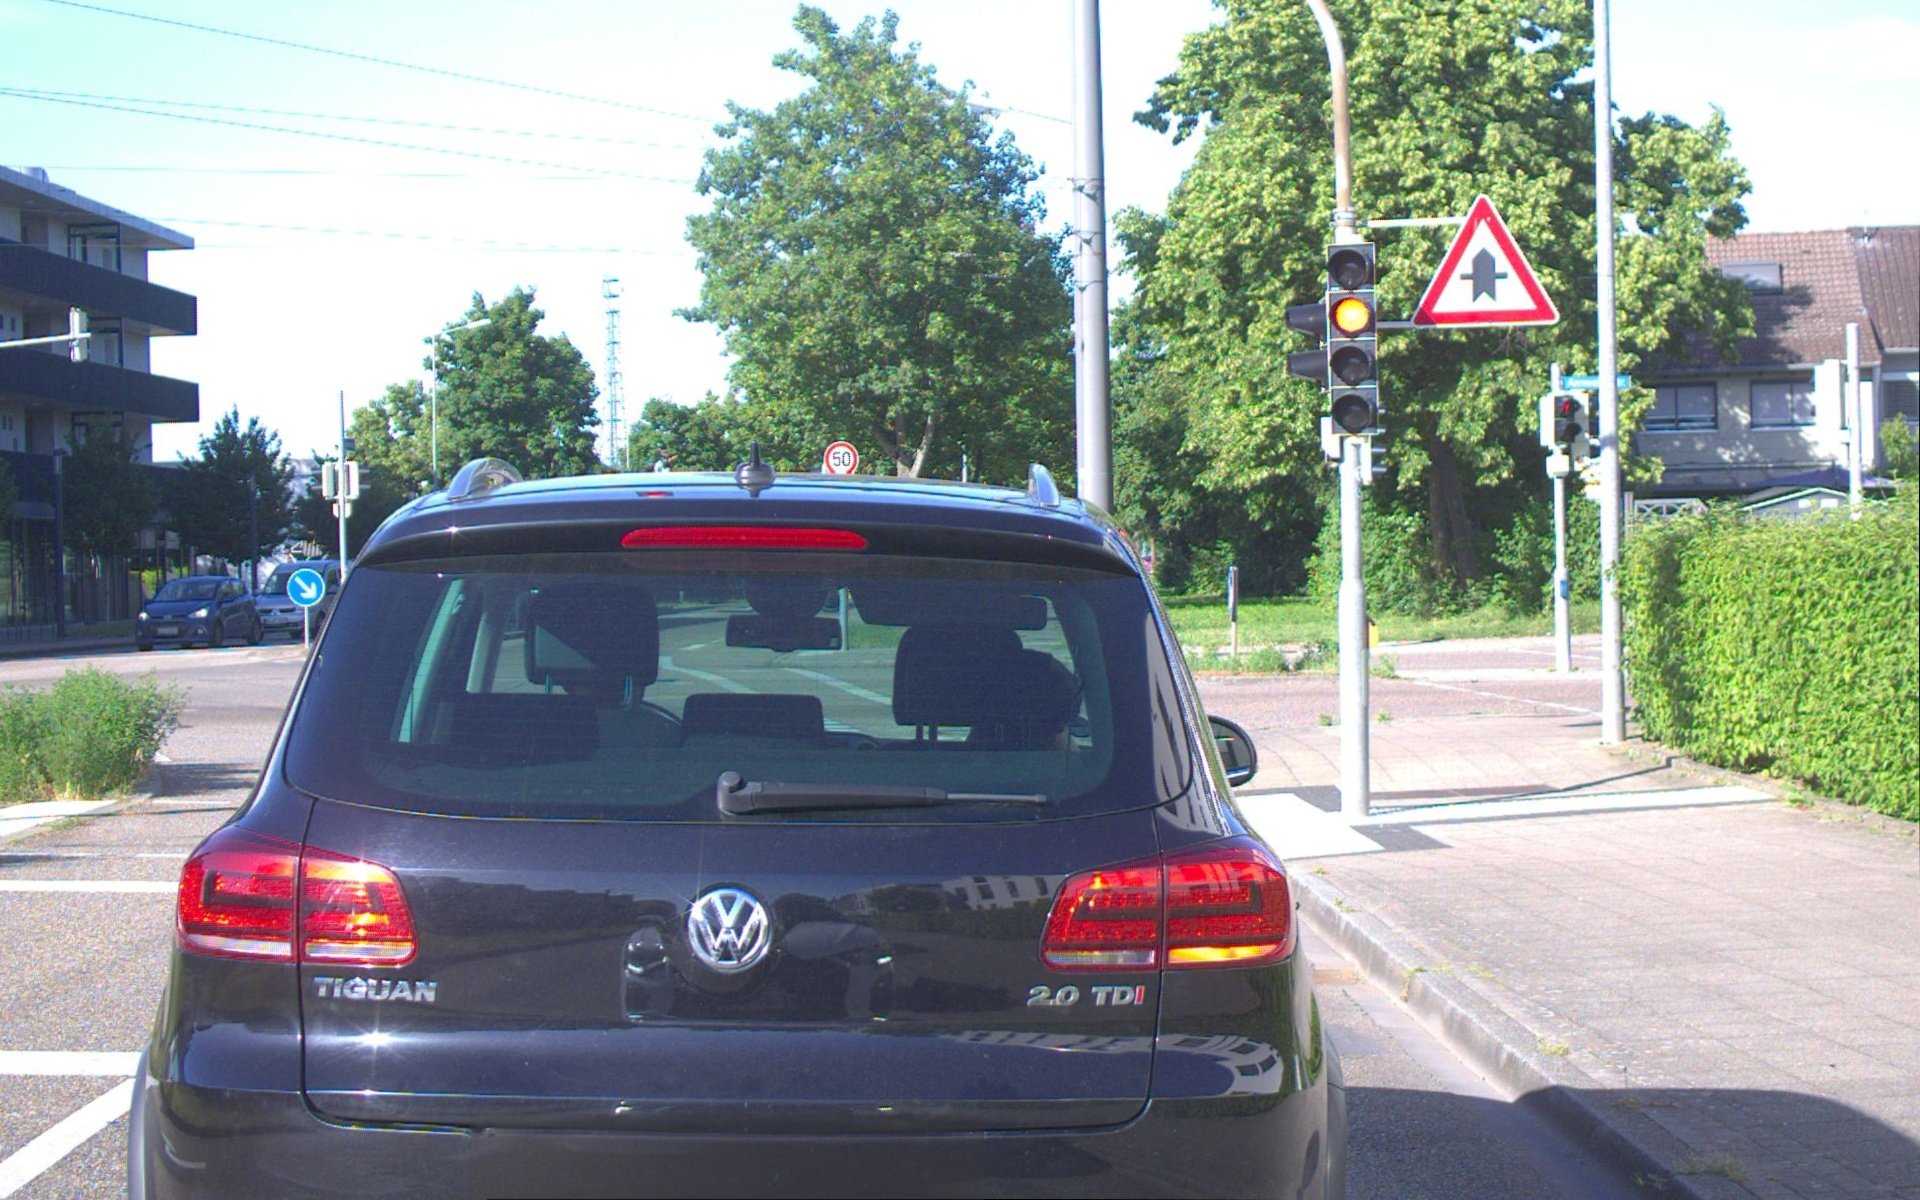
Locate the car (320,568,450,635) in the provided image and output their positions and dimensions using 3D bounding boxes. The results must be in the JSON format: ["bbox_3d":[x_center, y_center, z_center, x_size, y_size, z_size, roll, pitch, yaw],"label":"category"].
[{"bbox_3d":[-14.178,0.014,84.942,1.994,1.569,4.338,1,1,7],"label":"car"}]

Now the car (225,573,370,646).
[{"bbox_3d":[-15.027,0.192,78.190,1.994,1.569,4.338,1,1,7],"label":"car"}]

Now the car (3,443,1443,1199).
[{"bbox_3d":[-0.336,0.604,6.495,1.869,1.632,4.000,1,1,-1],"label":"car"}]

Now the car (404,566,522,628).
[{"bbox_3d":[-13.130,-0.101,91.018,1.994,1.569,4.338,1,1,7],"label":"car"}]

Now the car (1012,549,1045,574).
[{"bbox_3d":[4.586,-2.602,231.867,1.993,1.678,4.000,1,1,-2],"label":"car"}]

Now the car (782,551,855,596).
[{"bbox_3d":[-4.877,-0.929,119.188,1.864,1.480,4.109,-1,1,7],"label":"car"}]

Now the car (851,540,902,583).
[{"bbox_3d":[-3.353,-1.566,138.898,1.864,1.714,3.687,-1,1,1],"label":"car"}]

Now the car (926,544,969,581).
[{"bbox_3d":[-0.608,-1.926,177.160,1.994,1.830,4.000,1,1,3],"label":"car"}]

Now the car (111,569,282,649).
[{"bbox_3d":[-15.817,0.160,71.439,1.994,1.569,4.337,1,1,9],"label":"car"}]
